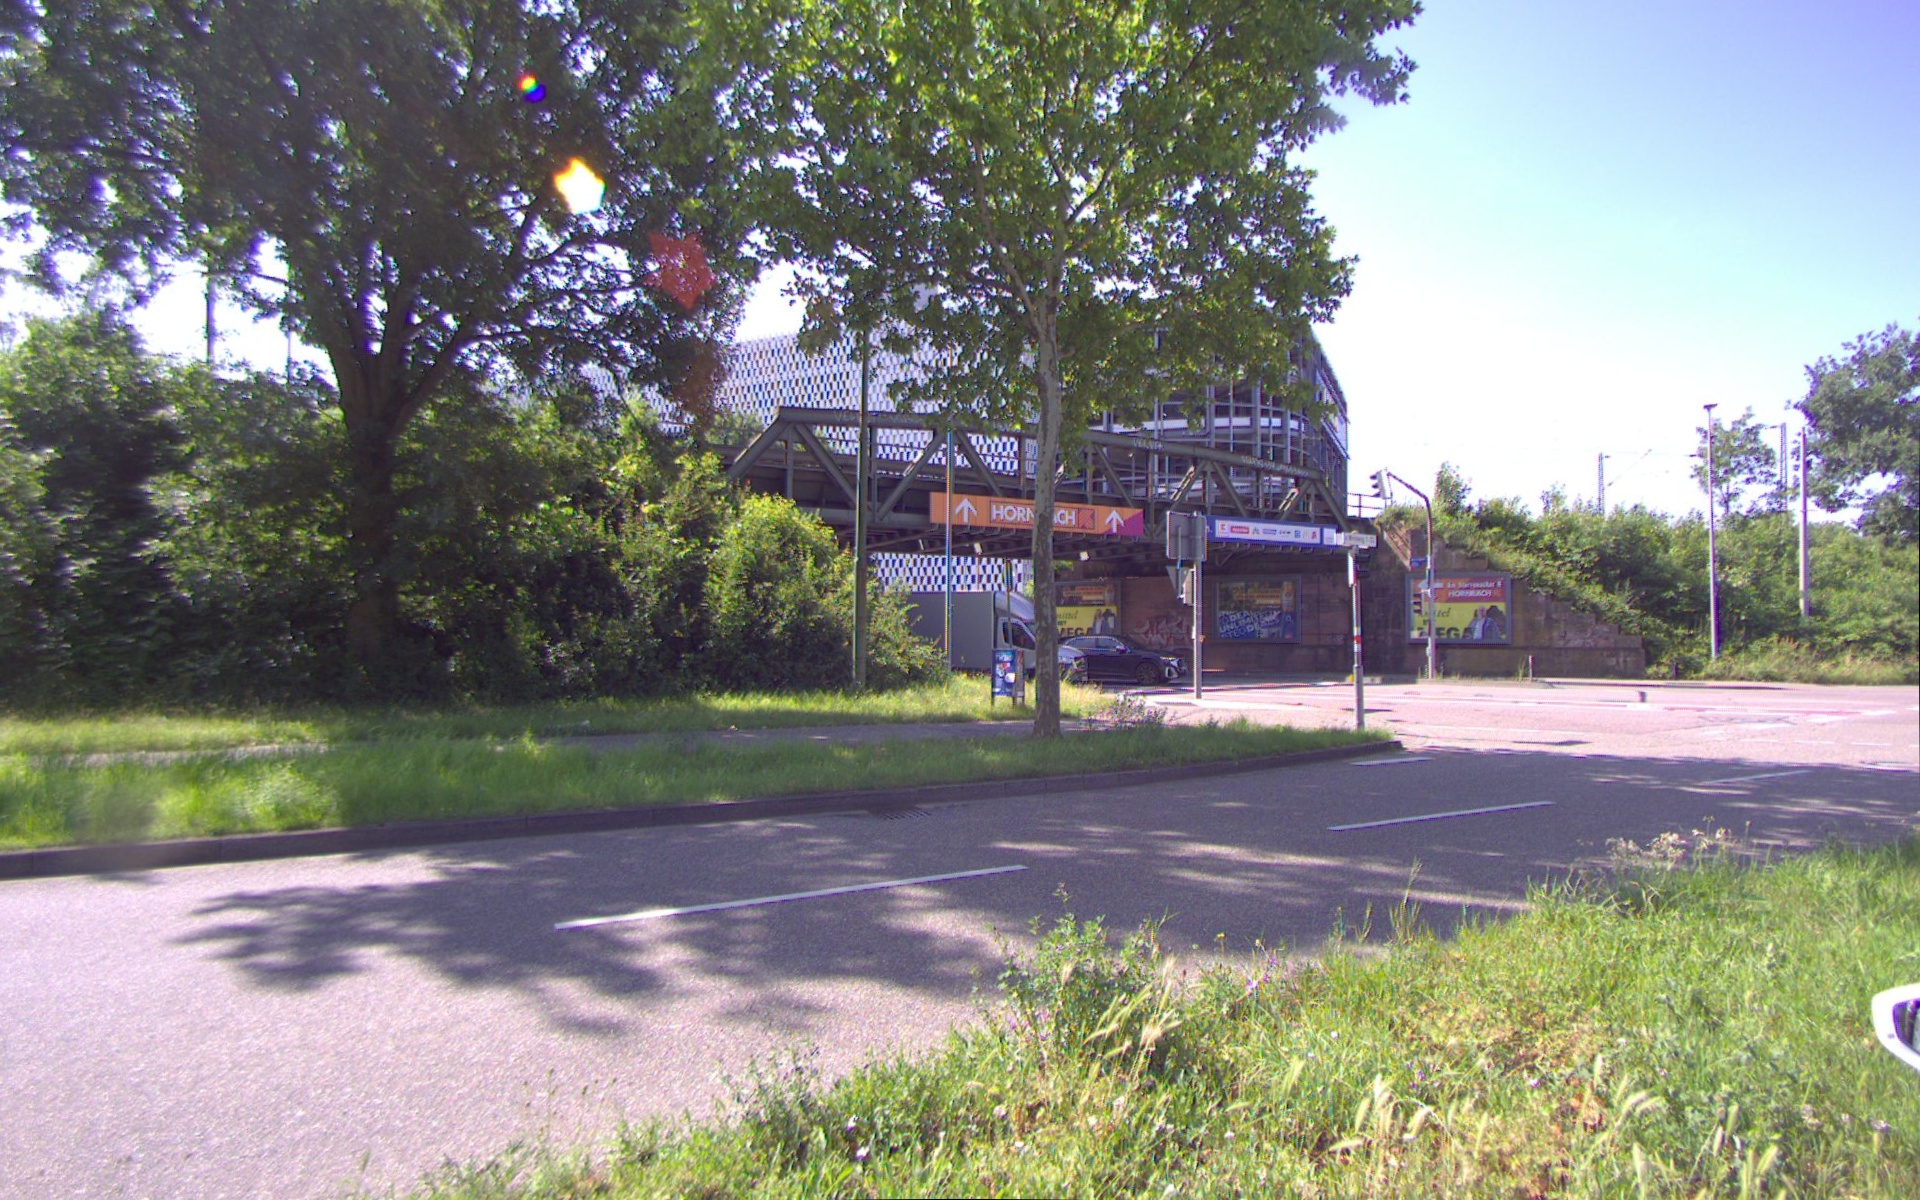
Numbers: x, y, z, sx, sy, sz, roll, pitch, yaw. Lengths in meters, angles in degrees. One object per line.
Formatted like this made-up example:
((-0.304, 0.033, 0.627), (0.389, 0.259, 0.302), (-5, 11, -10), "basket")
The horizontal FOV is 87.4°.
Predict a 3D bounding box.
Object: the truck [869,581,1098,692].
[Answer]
((0.647, 1.141, 30.974), (6.739, 3.146, 2.216), (-2, -2, 27), "truck")

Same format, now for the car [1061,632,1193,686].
((5.564, 1.949, 33.485), (3.926, 1.668, 1.902), (-2, -2, 27), "car")
